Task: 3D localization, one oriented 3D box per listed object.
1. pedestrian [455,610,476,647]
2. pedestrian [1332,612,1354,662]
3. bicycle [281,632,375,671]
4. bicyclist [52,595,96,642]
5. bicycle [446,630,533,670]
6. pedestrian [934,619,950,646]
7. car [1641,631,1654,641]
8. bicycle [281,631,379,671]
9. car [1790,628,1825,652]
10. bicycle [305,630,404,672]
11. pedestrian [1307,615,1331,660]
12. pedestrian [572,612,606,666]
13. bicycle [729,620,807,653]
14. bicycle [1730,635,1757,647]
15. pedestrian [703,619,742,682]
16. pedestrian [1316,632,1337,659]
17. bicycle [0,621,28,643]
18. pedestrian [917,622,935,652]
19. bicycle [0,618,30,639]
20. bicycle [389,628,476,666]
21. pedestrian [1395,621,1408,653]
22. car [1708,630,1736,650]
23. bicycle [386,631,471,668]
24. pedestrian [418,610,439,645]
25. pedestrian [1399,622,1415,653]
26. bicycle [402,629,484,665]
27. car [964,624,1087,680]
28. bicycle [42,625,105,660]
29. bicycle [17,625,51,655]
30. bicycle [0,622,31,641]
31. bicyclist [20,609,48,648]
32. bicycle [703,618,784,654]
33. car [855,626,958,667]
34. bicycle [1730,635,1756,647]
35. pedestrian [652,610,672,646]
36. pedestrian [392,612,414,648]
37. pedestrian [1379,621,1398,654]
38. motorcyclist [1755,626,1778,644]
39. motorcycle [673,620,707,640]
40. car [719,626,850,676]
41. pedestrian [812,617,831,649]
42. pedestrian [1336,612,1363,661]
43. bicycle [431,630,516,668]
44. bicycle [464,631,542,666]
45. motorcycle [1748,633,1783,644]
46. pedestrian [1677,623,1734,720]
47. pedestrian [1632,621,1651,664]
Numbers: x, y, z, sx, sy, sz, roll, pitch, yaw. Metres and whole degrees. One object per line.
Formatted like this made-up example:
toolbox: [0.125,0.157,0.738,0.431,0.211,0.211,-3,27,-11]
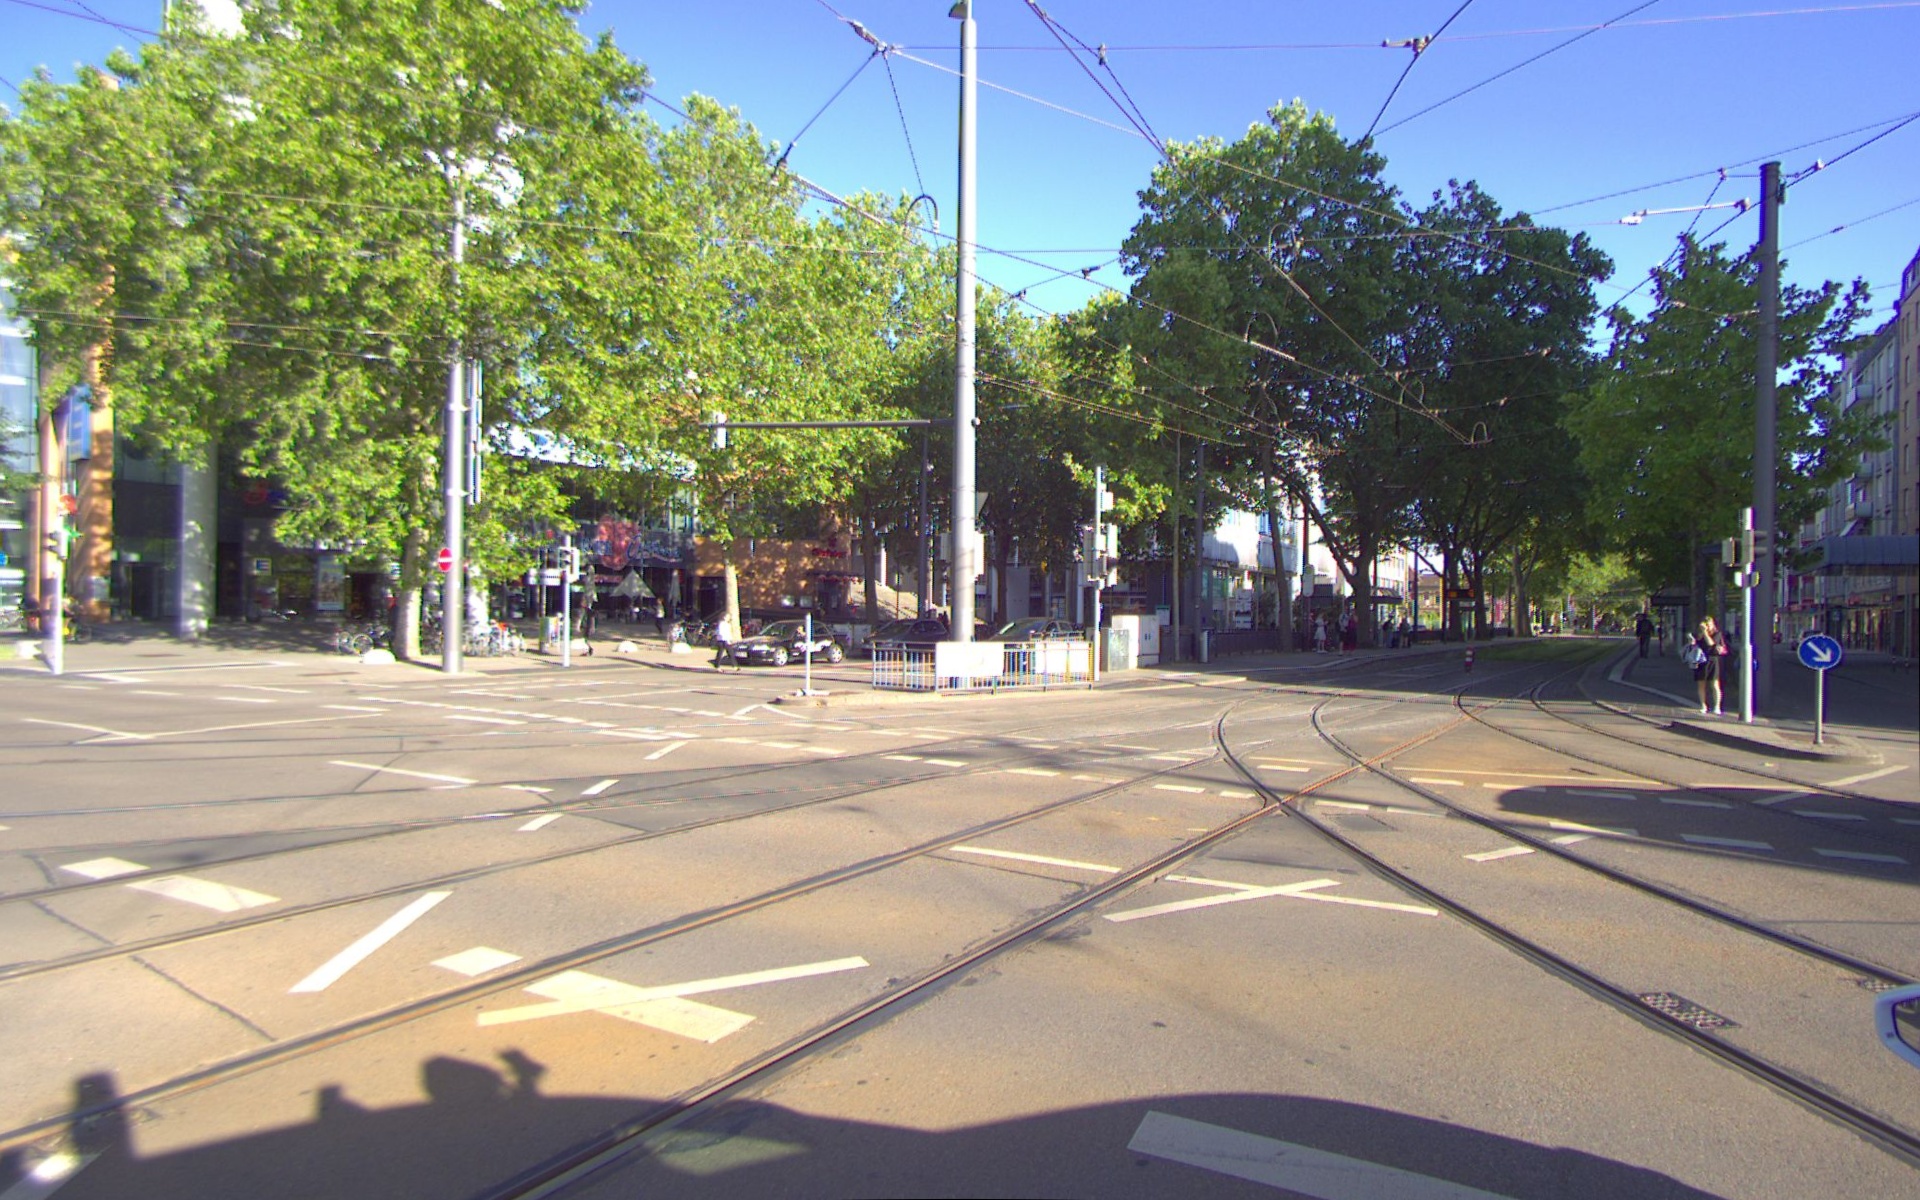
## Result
pedestrian: [-22.787,1.308,46.321,0.693,1.674,0.697,1,0,-11]
pedestrian: [14.421,1.373,37.801,0.625,1.853,0.743,1,0,30]
bicycle: [-19.300,1.563,30.734,0.589,1.143,2.357,0,-2,37]
bicyclist: [-30.163,0.645,34.188,0.923,1.569,0.893,0,-1,33]
bicycle: [-14.107,1.480,30.187,0.589,1.143,2.358,0,-2,36]
pedestrian: [-1.123,2.019,62.199,0.687,1.674,0.703,1,-1,35]
car: [105.578,5.548,154.277,1.591,1.522,3.679,1,-1,34]
bicycle: [-18.414,1.476,29.409,0.589,1.143,2.357,0,-2,37]
car: [63.148,2.940,74.859,1.650,1.674,3.678,1,-1,36]
bicycle: [-17.204,1.433,28.593,0.589,1.143,2.357,0,-2,37]
pedestrian: [14.890,1.558,41.664,0.738,1.824,0.586,1,0,-39]
pedestrian: [-11.988,1.254,32.437,0.818,1.702,0.713,-1,-2,38]
bicycle: [-8.413,1.581,43.955,3.297,1.371,1.035,1,-1,22]
bicycle: [87.966,4.602,112.757,2.326,1.250,0.681,1,0,38]
pedestrian: [-6.537,1.386,27.609,0.820,1.702,0.712,-2,-2,45]
pedestrian: [16.406,2.041,44.927,0.738,1.179,0.586,1,0,-39]
bicycle: [-50.723,1.680,52.664,2.671,1.118,0.885,2,-2,-42]
pedestrian: [-1.947,2.093,57.390,0.687,1.674,0.703,1,0,36]
bicycle: [-51.361,1.521,53.472,2.671,1.118,0.885,2,-2,-42]
bicycle: [-16.367,1.452,31.229,0.589,1.143,2.358,0,-2,36]
pedestrian: [22.449,1.878,51.039,0.495,1.594,0.492,1,1,39]
car: [63.532,3.333,83.765,1.591,1.522,3.679,1,-1,34]
bicycle: [-16.783,1.550,31.771,0.589,1.143,2.358,0,-2,36]
pedestrian: [-25.860,1.321,48.886,0.701,1.674,0.689,1,0,-44]
pedestrian: [22.888,1.912,51.442,0.634,1.594,0.558,-1,1,-43]
bicycle: [-16.838,1.524,32.791,0.589,1.143,2.358,0,-2,36]
car: [1.923,1.443,28.455,1.644,1.433,3.988,1,-2,35]
bicycle: [-30.173,1.425,34.174,2.646,1.118,0.893,0,-2,33]
bicycle: [-36.452,1.566,39.537,1.822,1.152,0.691,0,-1,38]
bicycle: [-55.379,1.822,57.845,2.671,1.118,0.885,2,-2,-42]
bicyclist: [-36.441,1.119,39.531,0.742,1.480,0.691,0,-1,37]
bicycle: [-9.057,1.490,42.031,3.297,1.371,1.035,1,-1,22]
car: [-1.939,1.713,37.333,1.645,1.425,3.986,1,-2,37]
bicycle: [89.070,4.677,114.253,2.326,1.250,0.681,1,0,38]
pedestrian: [-15.007,1.398,50.548,0.701,1.791,0.690,1,0,-42]
pedestrian: [-26.293,1.392,47.384,0.696,1.674,0.695,1,0,42]
pedestrian: [20.997,1.833,49.232,0.660,1.594,0.484,0,1,-12]
motorcyclist: [82.354,3.569,102.574,1.282,1.720,1.238,1,0,5]
motorcycle: [-15.302,1.677,56.857,0.826,1.072,2.313,1,-1,-43]
car: [-5.442,1.588,31.586,1.645,1.425,3.986,1,-2,37]
pedestrian: [-7.518,1.787,54.440,0.687,1.674,0.703,1,0,35]
pedestrian: [14.917,1.397,38.469,0.734,1.853,0.589,1,0,-24]
bicycle: [-15.048,1.505,31.147,0.589,1.143,2.358,0,-2,36]
bicycle: [-15.136,1.591,33.337,0.589,1.143,2.358,0,-2,36]
motorcycle: [82.355,3.935,102.729,1.282,1.072,3.099,1,-1,5]
pedestrian: [13.443,1.273,18.116,0.706,1.702,0.826,-2,-2,43]
pedestrian: [27.438,1.699,40.459,0.596,1.702,0.485,-1,-2,35]
